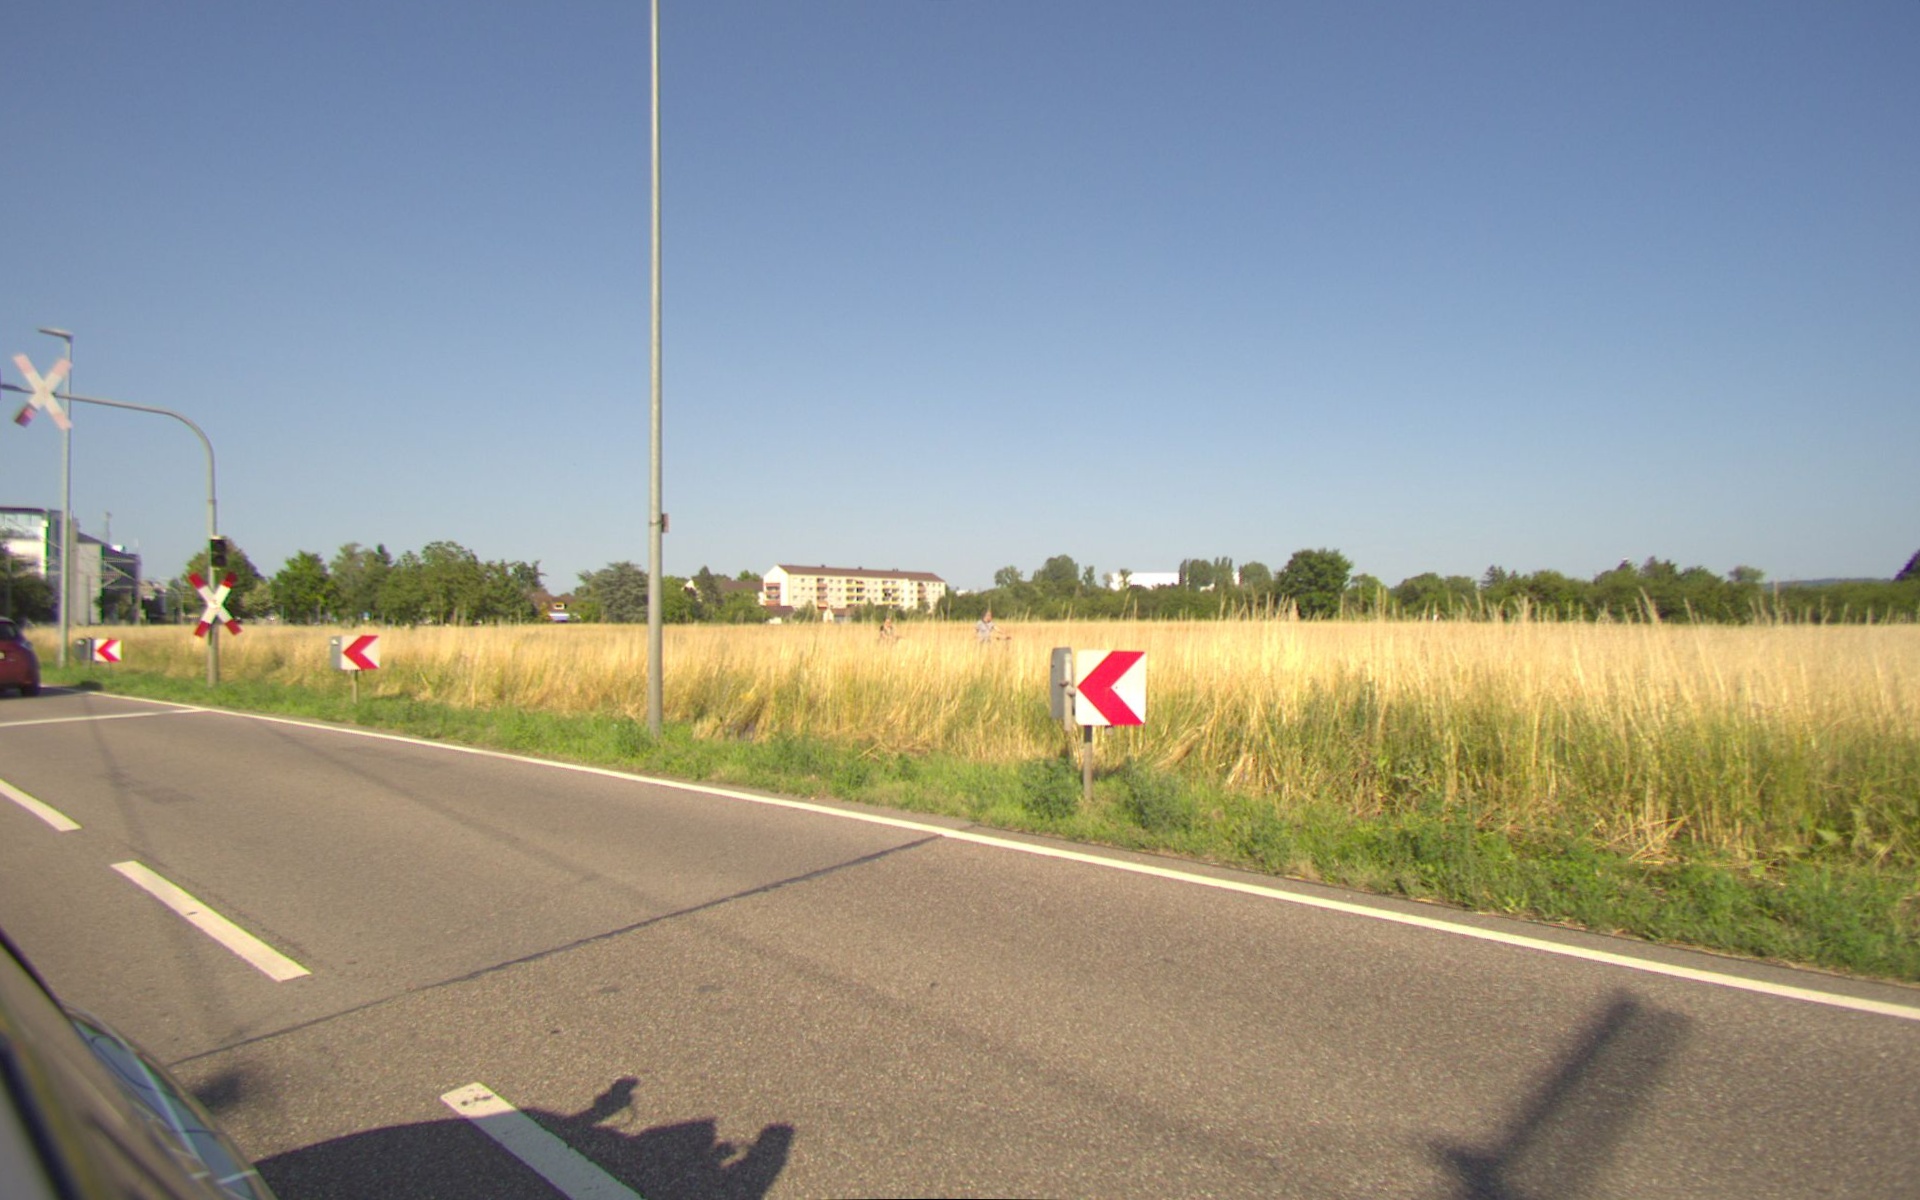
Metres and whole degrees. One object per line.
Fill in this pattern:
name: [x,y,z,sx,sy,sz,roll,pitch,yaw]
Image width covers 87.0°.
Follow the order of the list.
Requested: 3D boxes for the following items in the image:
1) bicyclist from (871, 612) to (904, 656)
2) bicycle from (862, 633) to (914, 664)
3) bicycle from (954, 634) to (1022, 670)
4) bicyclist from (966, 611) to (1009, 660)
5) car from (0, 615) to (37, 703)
bicyclist: [-2.092,0.978,29.212,0.595,1.214,0.791,0,-1,-39]
bicycle: [-2.086,1.393,29.199,0.605,0.845,1.739,-1,-1,-39]
bicycle: [0.696,1.289,25.338,0.740,0.845,1.739,-1,-1,-39]
bicyclist: [0.690,0.881,25.351,0.736,1.214,0.791,0,-1,-39]
car: [-18.971,1.098,19.076,3.923,1.561,1.696,-2,-1,38]
